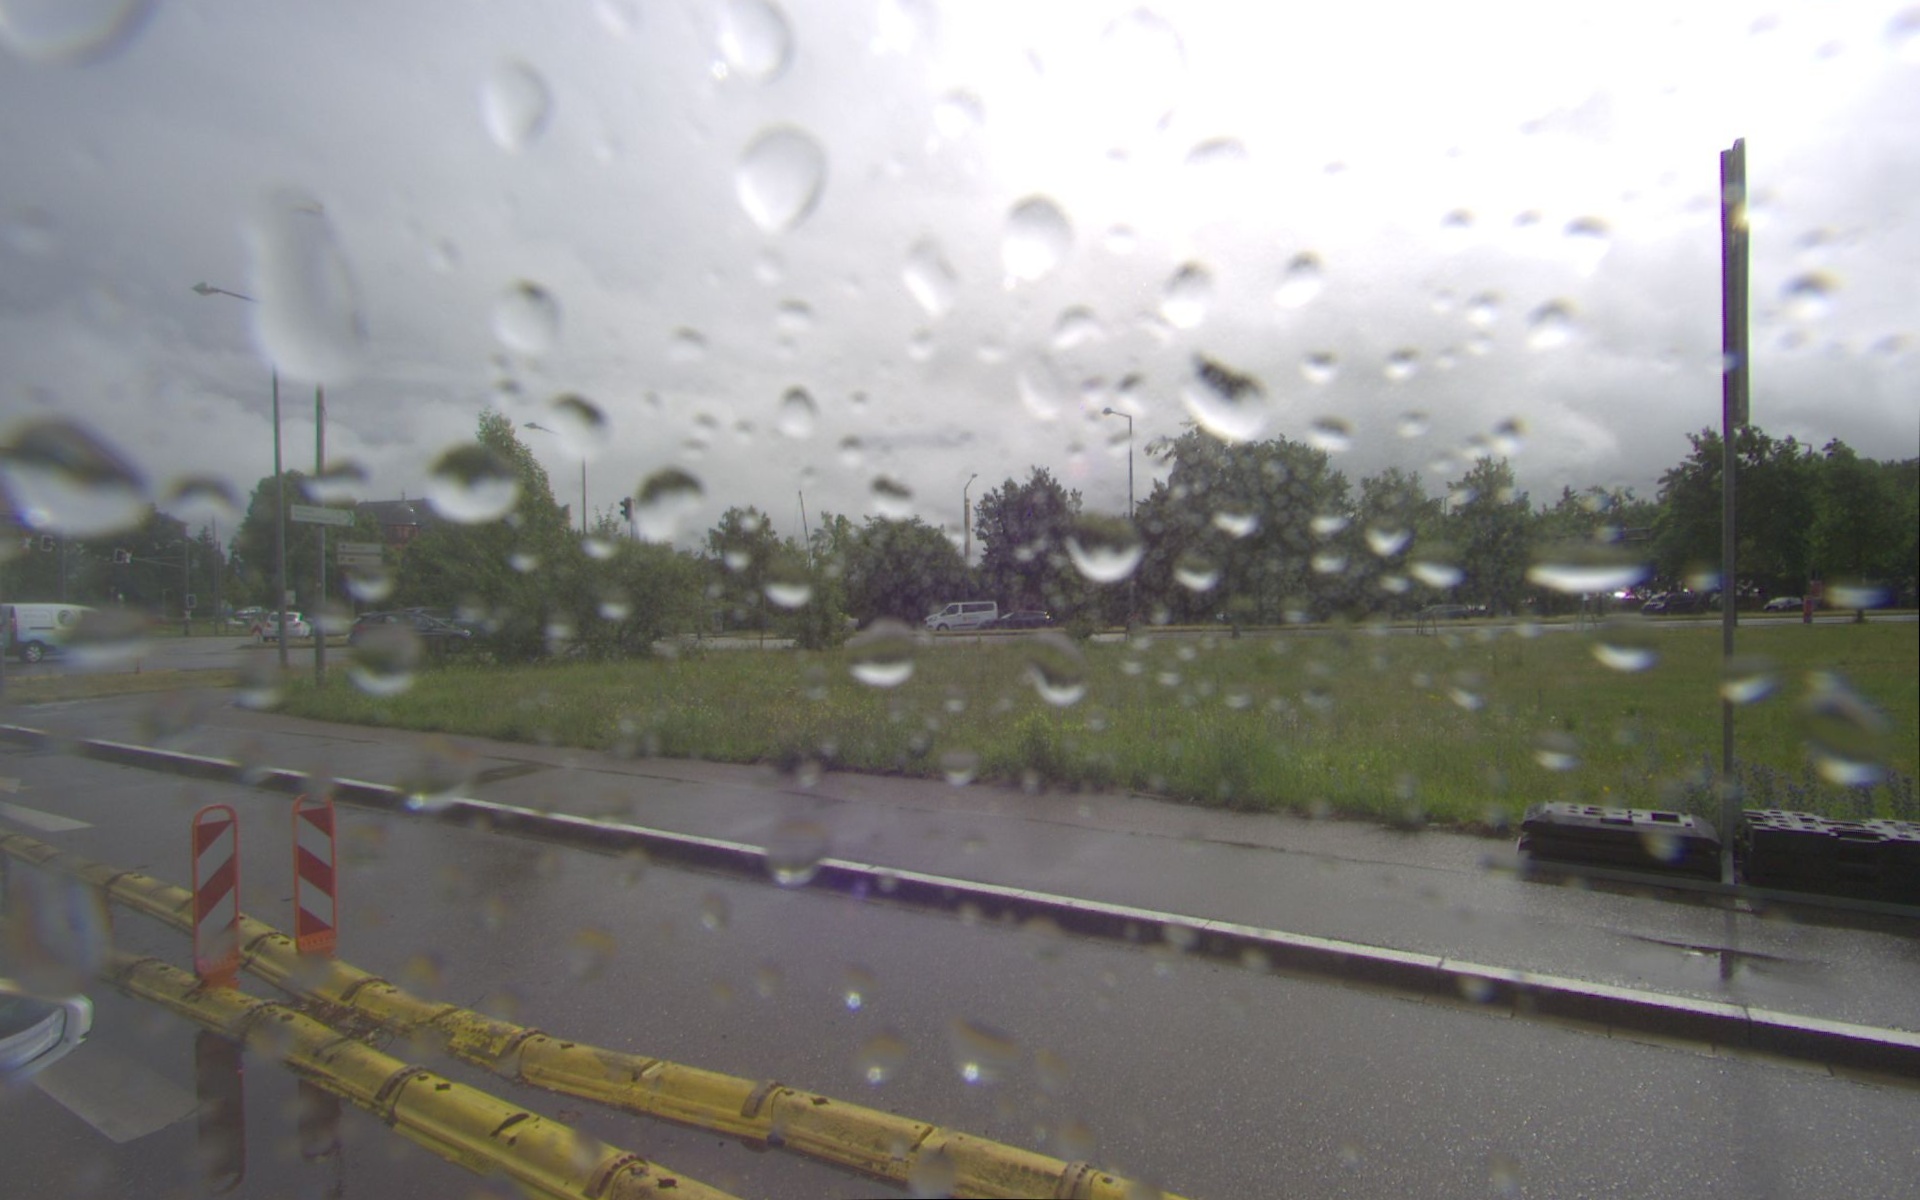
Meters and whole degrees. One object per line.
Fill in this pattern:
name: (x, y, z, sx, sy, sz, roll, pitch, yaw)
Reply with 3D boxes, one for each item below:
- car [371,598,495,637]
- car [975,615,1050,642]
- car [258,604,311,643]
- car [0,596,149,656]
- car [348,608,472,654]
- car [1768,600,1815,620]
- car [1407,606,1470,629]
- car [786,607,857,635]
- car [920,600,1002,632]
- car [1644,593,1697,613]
car: (-21.878, 0.719, 41.624, 4.349, 1.568, 1.857, 0, -1, -36)
car: (3.229, 1.735, 62.028, 4.226, 1.581, 1.911, 0, 0, -14)
car: (-34.136, 1.173, 50.667, 1.972, 1.854, 3.978, -1, 0, -31)
car: (-29.203, 0.812, 32.569, 1.834, 1.833, 4.403, 0, -1, 6)
car: (-20.759, 1.138, 37.870, 3.908, 1.666, 1.658, 0, 0, -38)
car: (67.630, 0.834, 81.461, 3.465, 1.579, 1.538, 0, 0, -22)
car: (35.385, 1.274, 74.041, 4.158, 1.579, 1.541, 0, 0, -14)
car: (-8.180, 1.232, 59.167, 4.038, 1.581, 1.912, 0, 0, -12)
car: (0.052, 1.025, 64.323, 4.873, 1.944, 1.996, 0, 0, -16)
car: (56.376, 0.246, 79.424, 3.459, 1.579, 1.541, 0, 0, -14)
